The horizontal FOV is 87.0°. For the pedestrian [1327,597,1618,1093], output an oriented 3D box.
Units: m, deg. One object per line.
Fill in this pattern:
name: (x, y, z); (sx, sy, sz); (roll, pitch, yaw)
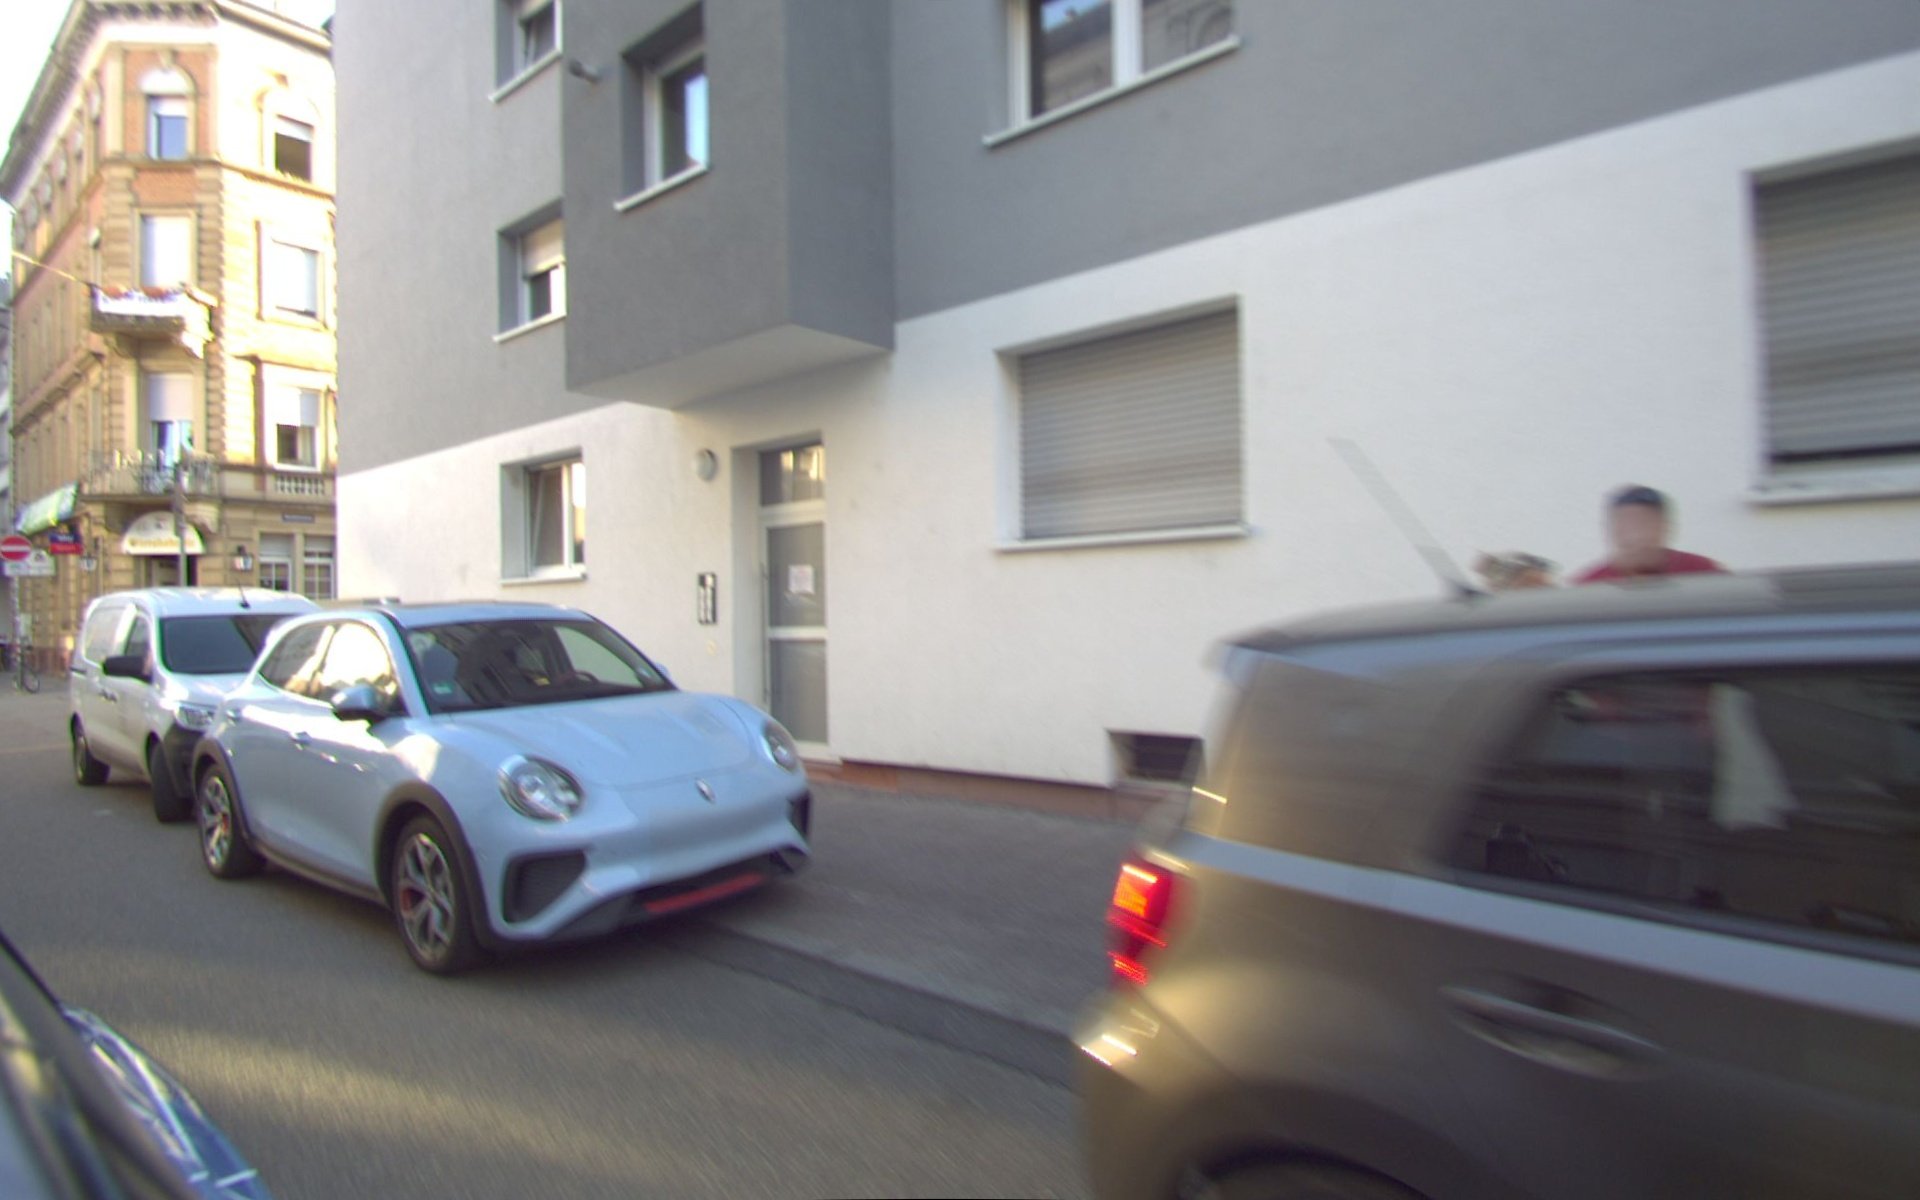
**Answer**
pedestrian: (1.619, 0.716, 3.315); (0.665, 1.421, 0.659); (-1, -1, 12)

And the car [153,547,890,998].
car: (-2.624, 0.711, 5.556); (4.357, 1.576, 1.748); (-3, -3, 36)

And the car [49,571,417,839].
car: (-6.496, 0.793, 8.869); (4.181, 1.827, 1.615); (-3, -2, 39)

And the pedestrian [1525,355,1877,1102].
pedestrian: (2.319, 0.354, 3.298); (0.772, 2.029, 0.792); (-2, -2, 30)

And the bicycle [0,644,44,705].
bicycle: (-21.621, 1.688, 23.109); (1.760, 1.285, 0.653); (-2, 1, 37)

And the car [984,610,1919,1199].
car: (2.152, 0.679, 1.239); (4.128, 1.342, 1.666); (-1, -1, 40)
